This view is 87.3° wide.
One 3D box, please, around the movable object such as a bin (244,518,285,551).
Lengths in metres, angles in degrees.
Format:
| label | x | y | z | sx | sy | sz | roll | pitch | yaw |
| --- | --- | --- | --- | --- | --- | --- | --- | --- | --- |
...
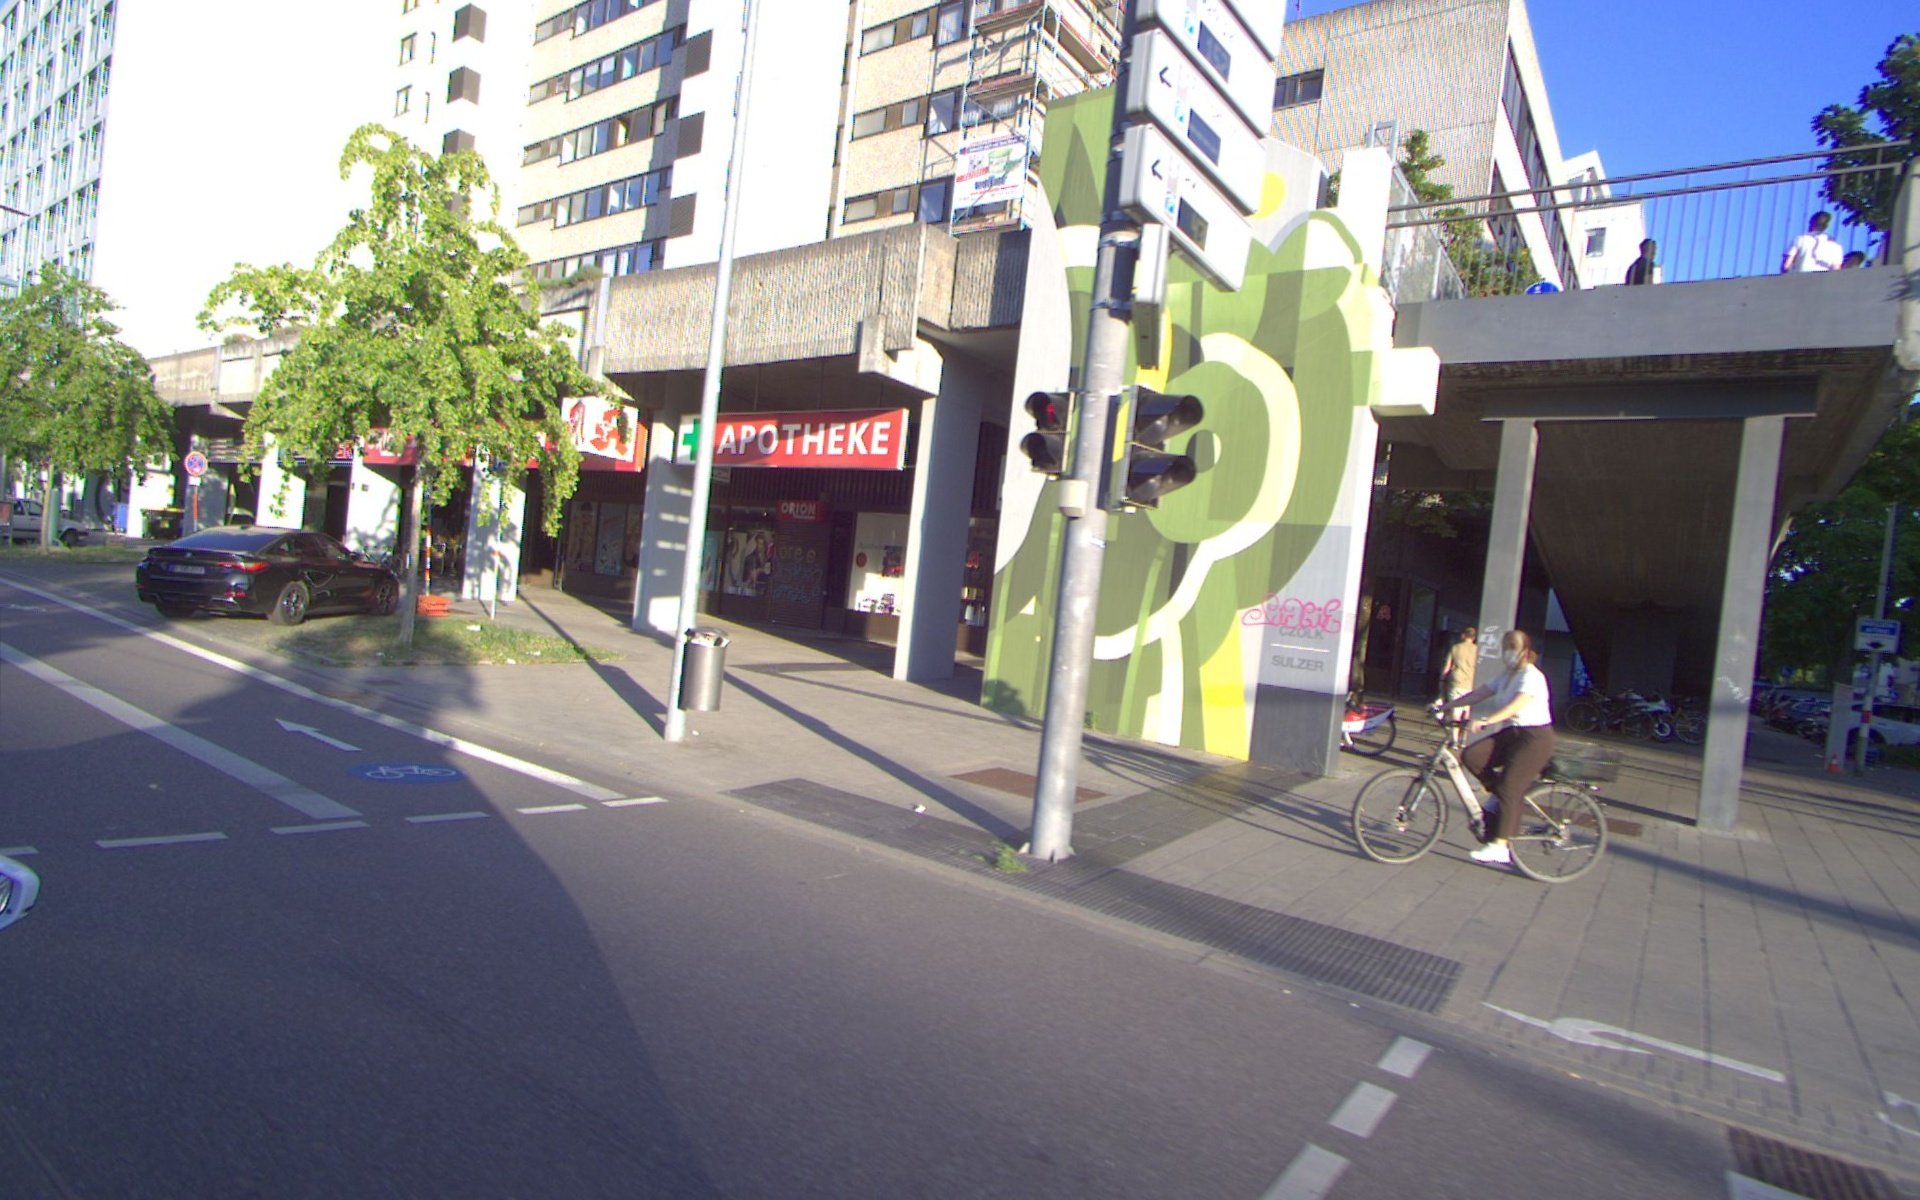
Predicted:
| label | x | y | z | sx | sy | sz | roll | pitch | yaw |
| --- | --- | --- | --- | --- | --- | --- | --- | --- | --- |
| movable object such as a bin | -31.528 | -2.972 | 45.605 | 1.071 | 1.330 | 1.181 | 7 | 1 | 35 |

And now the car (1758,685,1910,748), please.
| label | x | y | z | sx | sy | sz | roll | pitch | yaw |
| --- | --- | --- | --- | --- | --- | --- | --- | --- | --- |
| car | 34.282 | 4.545 | 39.616 | 4.217 | 1.775 | 1.638 | 7 | -2 | 36 |

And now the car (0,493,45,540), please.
| label | x | y | z | sx | sy | sz | roll | pitch | yaw |
| --- | --- | --- | --- | --- | --- | --- | --- | --- | --- |
| car | -33.233 | -2.900 | 33.177 | 1.904 | 1.528 | 4.663 | 5 | 2 | -3 |

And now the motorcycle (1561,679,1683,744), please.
| label | x | y | z | sx | sy | sz | roll | pitch | yaw |
| --- | --- | --- | --- | --- | --- | --- | --- | --- | --- |
| motorcycle | 14.621 | 2.442 | 22.296 | 2.118 | 1.072 | 0.785 | 8 | 2 | 32 |

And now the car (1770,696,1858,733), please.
| label | x | y | z | sx | sy | sz | roll | pitch | yaw |
| --- | --- | --- | --- | --- | --- | --- | --- | --- | --- |
| car | 47.116 | 6.309 | 55.583 | 3.481 | 1.477 | 1.441 | 7 | -2 | 36 |

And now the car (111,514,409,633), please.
| label | x | y | z | sx | sy | sz | roll | pitch | yaw |
| --- | --- | --- | --- | --- | --- | --- | --- | --- | --- |
| car | -11.004 | -0.432 | 16.317 | 1.781 | 1.472 | 4.600 | 6 | 1 | -4 |

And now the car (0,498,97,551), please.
| label | x | y | z | sx | sy | sz | roll | pitch | yaw |
| --- | --- | --- | --- | --- | --- | --- | --- | --- | --- |
| car | -28.015 | -2.268 | 29.641 | 1.719 | 1.435 | 3.987 | 5 | 2 | -1 |

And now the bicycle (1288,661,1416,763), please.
| label | x | y | z | sx | sy | sz | roll | pitch | yaw |
| --- | --- | --- | --- | --- | --- | --- | --- | --- | --- |
| bicycle | 4.958 | 1.407 | 12.771 | 1.311 | 1.061 | 0.457 | 7 | 2 | 7 |

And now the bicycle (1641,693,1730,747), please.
| label | x | y | z | sx | sy | sz | roll | pitch | yaw |
| --- | --- | --- | --- | --- | --- | --- | --- | --- | --- |
| bicycle | 16.725 | 2.760 | 23.232 | 1.542 | 0.963 | 0.483 | 8 | 2 | 33 |

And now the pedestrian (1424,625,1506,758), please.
| label | x | y | z | sx | sy | sz | roll | pitch | yaw |
| --- | --- | --- | --- | --- | --- | --- | --- | --- | --- |
| pedestrian | 7.330 | 1.308 | 14.632 | 0.685 | 1.775 | 0.724 | 7 | 4 | 13 |

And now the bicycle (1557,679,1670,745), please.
| label | x | y | z | sx | sy | sz | roll | pitch | yaw |
| --- | --- | --- | --- | --- | --- | --- | --- | --- | --- |
| bicycle | 14.014 | 2.382 | 21.640 | 1.891 | 1.072 | 0.780 | 8 | 2 | 32 |

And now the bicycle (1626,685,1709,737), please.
| label | x | y | z | sx | sy | sz | roll | pitch | yaw |
| --- | --- | --- | --- | --- | --- | --- | --- | --- | --- |
| bicycle | 18.348 | 2.867 | 26.127 | 1.539 | 1.051 | 0.649 | 7 | 2 | 24 |

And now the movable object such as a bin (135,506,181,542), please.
| label | x | y | z | sx | sy | sz | roll | pitch | yaw |
| --- | --- | --- | --- | --- | --- | --- | --- | --- | --- |
| movable object such as a bin | -33.666 | -3.195 | 42.244 | 1.247 | 1.341 | 1.180 | 7 | 3 | 35 |

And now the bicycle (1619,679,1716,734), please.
| label | x | y | z | sx | sy | sz | roll | pitch | yaw |
| --- | --- | --- | --- | --- | --- | --- | --- | --- | --- |
| bicycle | 18.905 | 2.836 | 26.924 | 1.914 | 1.143 | 0.649 | 7 | 2 | 24 |

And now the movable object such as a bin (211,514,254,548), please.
| label | x | y | z | sx | sy | sz | roll | pitch | yaw |
| --- | --- | --- | --- | --- | --- | --- | --- | --- | --- |
| movable object such as a bin | -32.251 | -3.063 | 44.600 | 1.107 | 1.330 | 1.181 | 7 | 1 | 35 |

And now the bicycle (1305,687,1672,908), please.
| label | x | y | z | sx | sy | sz | roll | pitch | yaw |
| --- | --- | --- | --- | --- | --- | --- | --- | --- | --- |
| bicycle | 3.748 | 1.379 | 7.333 | 2.107 | 1.189 | 0.820 | 6 | 2 | 8 |

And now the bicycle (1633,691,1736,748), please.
| label | x | y | z | sx | sy | sz | roll | pitch | yaw |
| --- | --- | --- | --- | --- | --- | --- | --- | --- | --- |
| bicycle | 16.327 | 2.676 | 22.719 | 1.737 | 0.963 | 0.698 | 8 | 2 | 32 |

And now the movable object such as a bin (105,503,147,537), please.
| label | x | y | z | sx | sy | sz | roll | pitch | yaw |
| --- | --- | --- | --- | --- | --- | --- | --- | --- | --- |
| movable object such as a bin | -37.139 | -3.548 | 44.810 | 1.263 | 1.347 | 1.104 | 7 | 3 | 36 |

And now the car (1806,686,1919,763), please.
| label | x | y | z | sx | sy | sz | roll | pitch | yaw |
| --- | --- | --- | --- | --- | --- | --- | --- | --- | --- |
| car | 25.944 | 3.530 | 27.092 | 4.554 | 1.712 | 1.749 | 7 | -2 | 37 |

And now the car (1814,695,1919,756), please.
| label | x | y | z | sx | sy | sz | roll | pitch | yaw |
| --- | --- | --- | --- | --- | --- | --- | --- | --- | --- |
| car | 29.224 | 4.003 | 30.985 | 4.112 | 1.477 | 1.751 | 7 | -2 | 33 |

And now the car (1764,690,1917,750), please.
| label | x | y | z | sx | sy | sz | roll | pitch | yaw |
| --- | --- | --- | --- | --- | --- | --- | --- | --- | --- |
| car | 32.638 | 4.443 | 37.446 | 3.968 | 1.554 | 1.638 | 7 | -2 | 36 |

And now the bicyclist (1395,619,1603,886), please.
| label | x | y | z | sx | sy | sz | roll | pitch | yaw |
| --- | --- | --- | --- | --- | --- | --- | --- | --- | --- |
| bicyclist | 3.862 | 1.049 | 7.310 | 0.943 | 1.714 | 0.820 | 6 | 2 | 9 |

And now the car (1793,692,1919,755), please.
| label | x | y | z | sx | sy | sz | roll | pitch | yaw |
| --- | --- | --- | --- | --- | --- | --- | --- | --- | --- |
| car | 30.166 | 4.129 | 33.047 | 4.014 | 1.554 | 1.639 | 7 | -2 | 33 |

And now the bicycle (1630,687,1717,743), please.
| label | x | y | z | sx | sy | sz | roll | pitch | yaw |
| --- | --- | --- | --- | --- | --- | --- | --- | --- | --- |
| bicycle | 16.961 | 2.724 | 23.949 | 1.542 | 1.051 | 0.483 | 8 | 2 | 33 |

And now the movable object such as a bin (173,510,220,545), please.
| label | x | y | z | sx | sy | sz | roll | pitch | yaw |
| --- | --- | --- | --- | --- | --- | --- | --- | --- | --- |
| movable object such as a bin | -32.949 | -3.134 | 43.416 | 1.284 | 1.315 | 1.181 | 7 | 1 | 35 |

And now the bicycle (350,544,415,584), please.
| label | x | y | z | sx | sy | sz | roll | pitch | yaw |
| --- | --- | --- | --- | --- | --- | --- | --- | --- | --- |
| bicycle | -16.778 | -1.037 | 29.260 | 0.426 | 1.062 | 1.571 | 7 | 3 | 35 |

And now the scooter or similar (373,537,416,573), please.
| label | x | y | z | sx | sy | sz | roll | pitch | yaw |
| --- | --- | --- | --- | --- | --- | --- | --- | --- | --- |
| scooter or similar | -21.504 | -1.714 | 38.237 | 1.798 | 1.174 | 0.402 | 7 | -1 | 27 |

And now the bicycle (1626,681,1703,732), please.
| label | x | y | z | sx | sy | sz | roll | pitch | yaw |
| --- | --- | --- | --- | --- | --- | --- | --- | --- | --- |
| bicycle | 19.695 | 2.972 | 28.146 | 1.539 | 1.143 | 0.649 | 7 | 2 | 24 |
